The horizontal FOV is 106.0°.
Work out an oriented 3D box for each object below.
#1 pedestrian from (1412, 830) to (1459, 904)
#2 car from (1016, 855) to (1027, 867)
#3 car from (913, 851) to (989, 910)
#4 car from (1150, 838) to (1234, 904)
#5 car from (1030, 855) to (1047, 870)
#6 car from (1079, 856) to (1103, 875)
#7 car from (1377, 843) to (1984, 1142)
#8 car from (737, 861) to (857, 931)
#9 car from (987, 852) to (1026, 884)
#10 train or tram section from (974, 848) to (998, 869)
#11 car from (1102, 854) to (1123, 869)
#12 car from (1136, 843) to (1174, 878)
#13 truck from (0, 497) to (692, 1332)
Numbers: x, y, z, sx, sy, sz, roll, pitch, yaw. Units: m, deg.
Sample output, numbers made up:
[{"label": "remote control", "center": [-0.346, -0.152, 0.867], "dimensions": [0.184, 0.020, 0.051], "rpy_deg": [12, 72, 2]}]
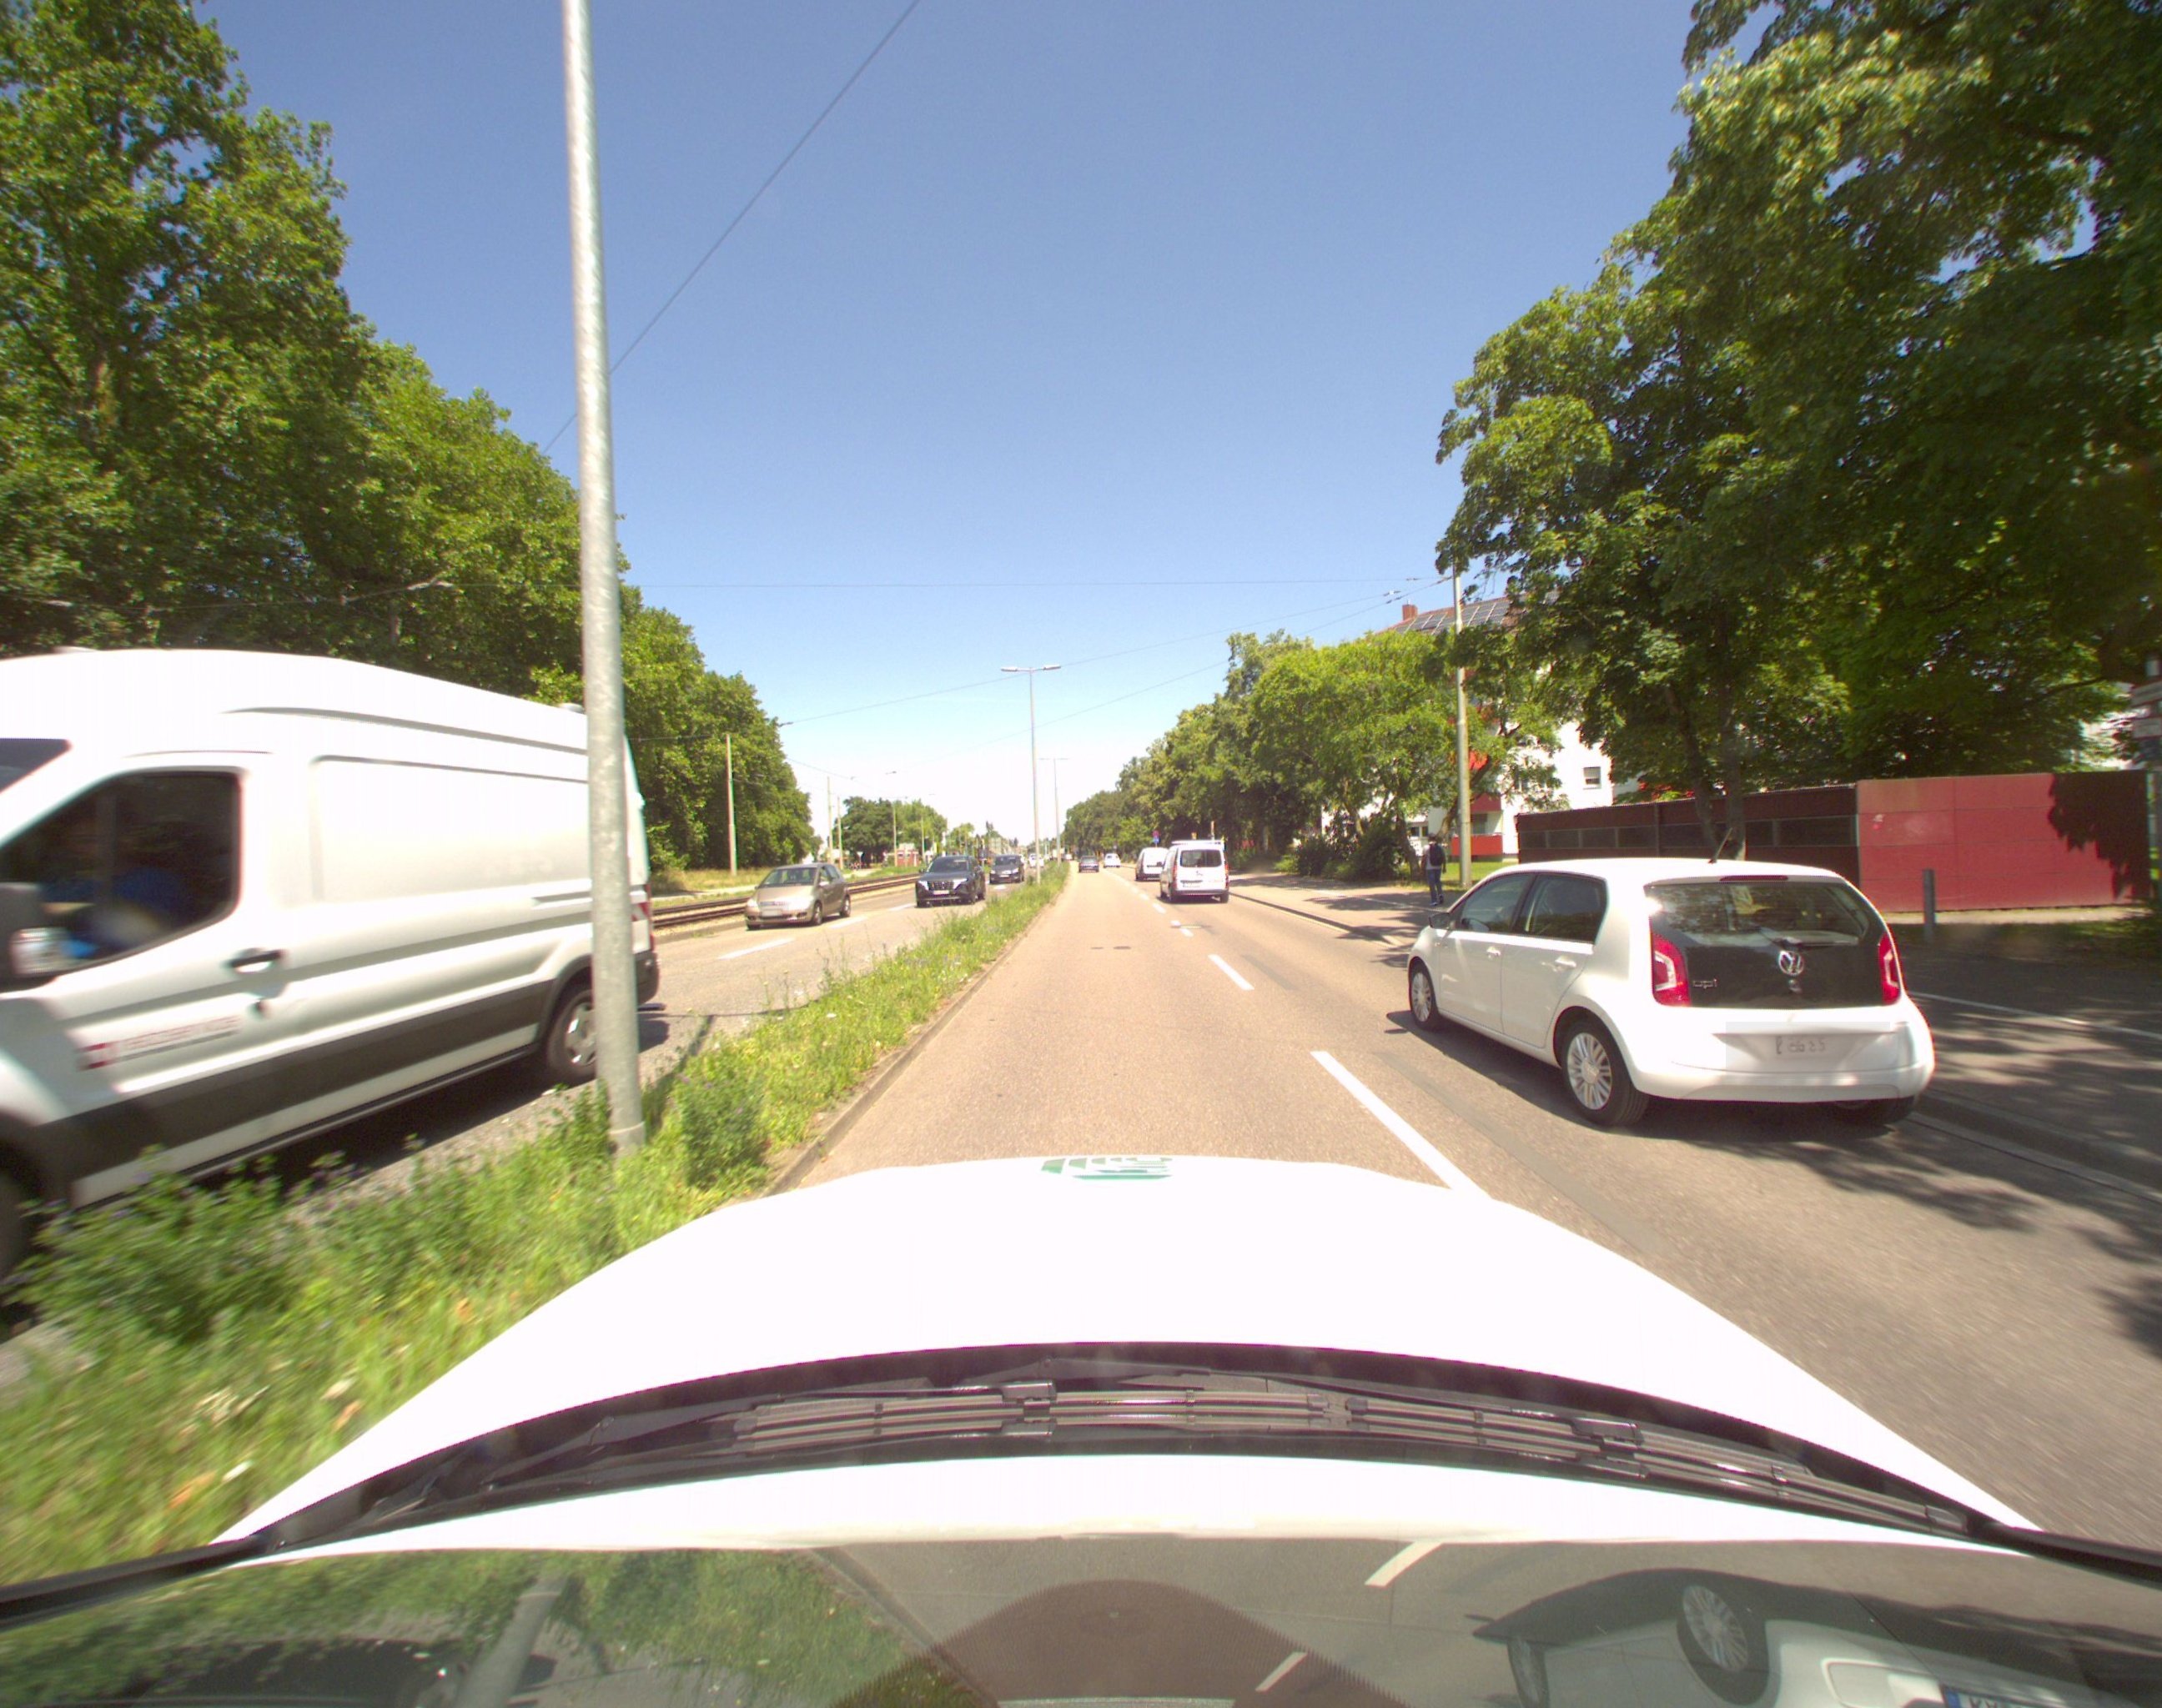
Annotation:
[{"label": "pedestrian", "center": [8.155, 0.292, 18.786], "dimensions": [0.666, 1.644, 0.856], "rpy_deg": [-2, -1, 0]}, {"label": "car", "center": [-10.952, 1.330, 150.148], "dimensions": [1.885, 2.017, 5.075], "rpy_deg": [-4, 0, -4]}, {"label": "car", "center": [-4.381, 0.844, 28.118], "dimensions": [1.823, 1.756, 4.487], "rpy_deg": [-3, 0, -1]}, {"label": "car", "center": [3.423, 0.509, 25.848], "dimensions": [1.820, 1.882, 4.450], "rpy_deg": [-1, 0, -3]}, {"label": "car", "center": [-5.495, 1.101, 105.881], "dimensions": [1.824, 1.738, 4.037], "rpy_deg": [-3, 0, 0]}, {"label": "car", "center": [0.812, 0.957, 68.813], "dimensions": [1.798, 1.486, 3.995], "rpy_deg": [-2, 0, -3]}, {"label": "car", "center": [3.653, 0.692, 5.945], "dimensions": [1.653, 1.449, 3.855], "rpy_deg": [-1, 0, 1]}, {"label": "car", "center": [-7.454, 1.040, 21.773], "dimensions": [1.824, 1.585, 3.770], "rpy_deg": [-3, 0, -1]}, {"label": "car", "center": [-4.365, 0.777, 48.469], "dimensions": [1.823, 1.713, 4.792], "rpy_deg": [-3, 0, -1]}, {"label": "train or tram section", "center": [-18.790, 0.972, 163.836], "dimensions": [2.782, 3.668, 37.463], "rpy_deg": [-2, 0, -4]}, {"label": "car", "center": [3.492, 0.809, 89.804], "dimensions": [1.800, 1.540, 3.993], "rpy_deg": [-2, 0, -5]}, {"label": "car", "center": [4.021, 0.333, 44.746], "dimensions": [1.722, 1.814, 4.000], "rpy_deg": [-1, 0, 0]}, {"label": "truck", "center": [-4.560, 0.223, 4.330], "dimensions": [2.074, 2.748, 5.548], "rpy_deg": [-3, 0, 1]}]
